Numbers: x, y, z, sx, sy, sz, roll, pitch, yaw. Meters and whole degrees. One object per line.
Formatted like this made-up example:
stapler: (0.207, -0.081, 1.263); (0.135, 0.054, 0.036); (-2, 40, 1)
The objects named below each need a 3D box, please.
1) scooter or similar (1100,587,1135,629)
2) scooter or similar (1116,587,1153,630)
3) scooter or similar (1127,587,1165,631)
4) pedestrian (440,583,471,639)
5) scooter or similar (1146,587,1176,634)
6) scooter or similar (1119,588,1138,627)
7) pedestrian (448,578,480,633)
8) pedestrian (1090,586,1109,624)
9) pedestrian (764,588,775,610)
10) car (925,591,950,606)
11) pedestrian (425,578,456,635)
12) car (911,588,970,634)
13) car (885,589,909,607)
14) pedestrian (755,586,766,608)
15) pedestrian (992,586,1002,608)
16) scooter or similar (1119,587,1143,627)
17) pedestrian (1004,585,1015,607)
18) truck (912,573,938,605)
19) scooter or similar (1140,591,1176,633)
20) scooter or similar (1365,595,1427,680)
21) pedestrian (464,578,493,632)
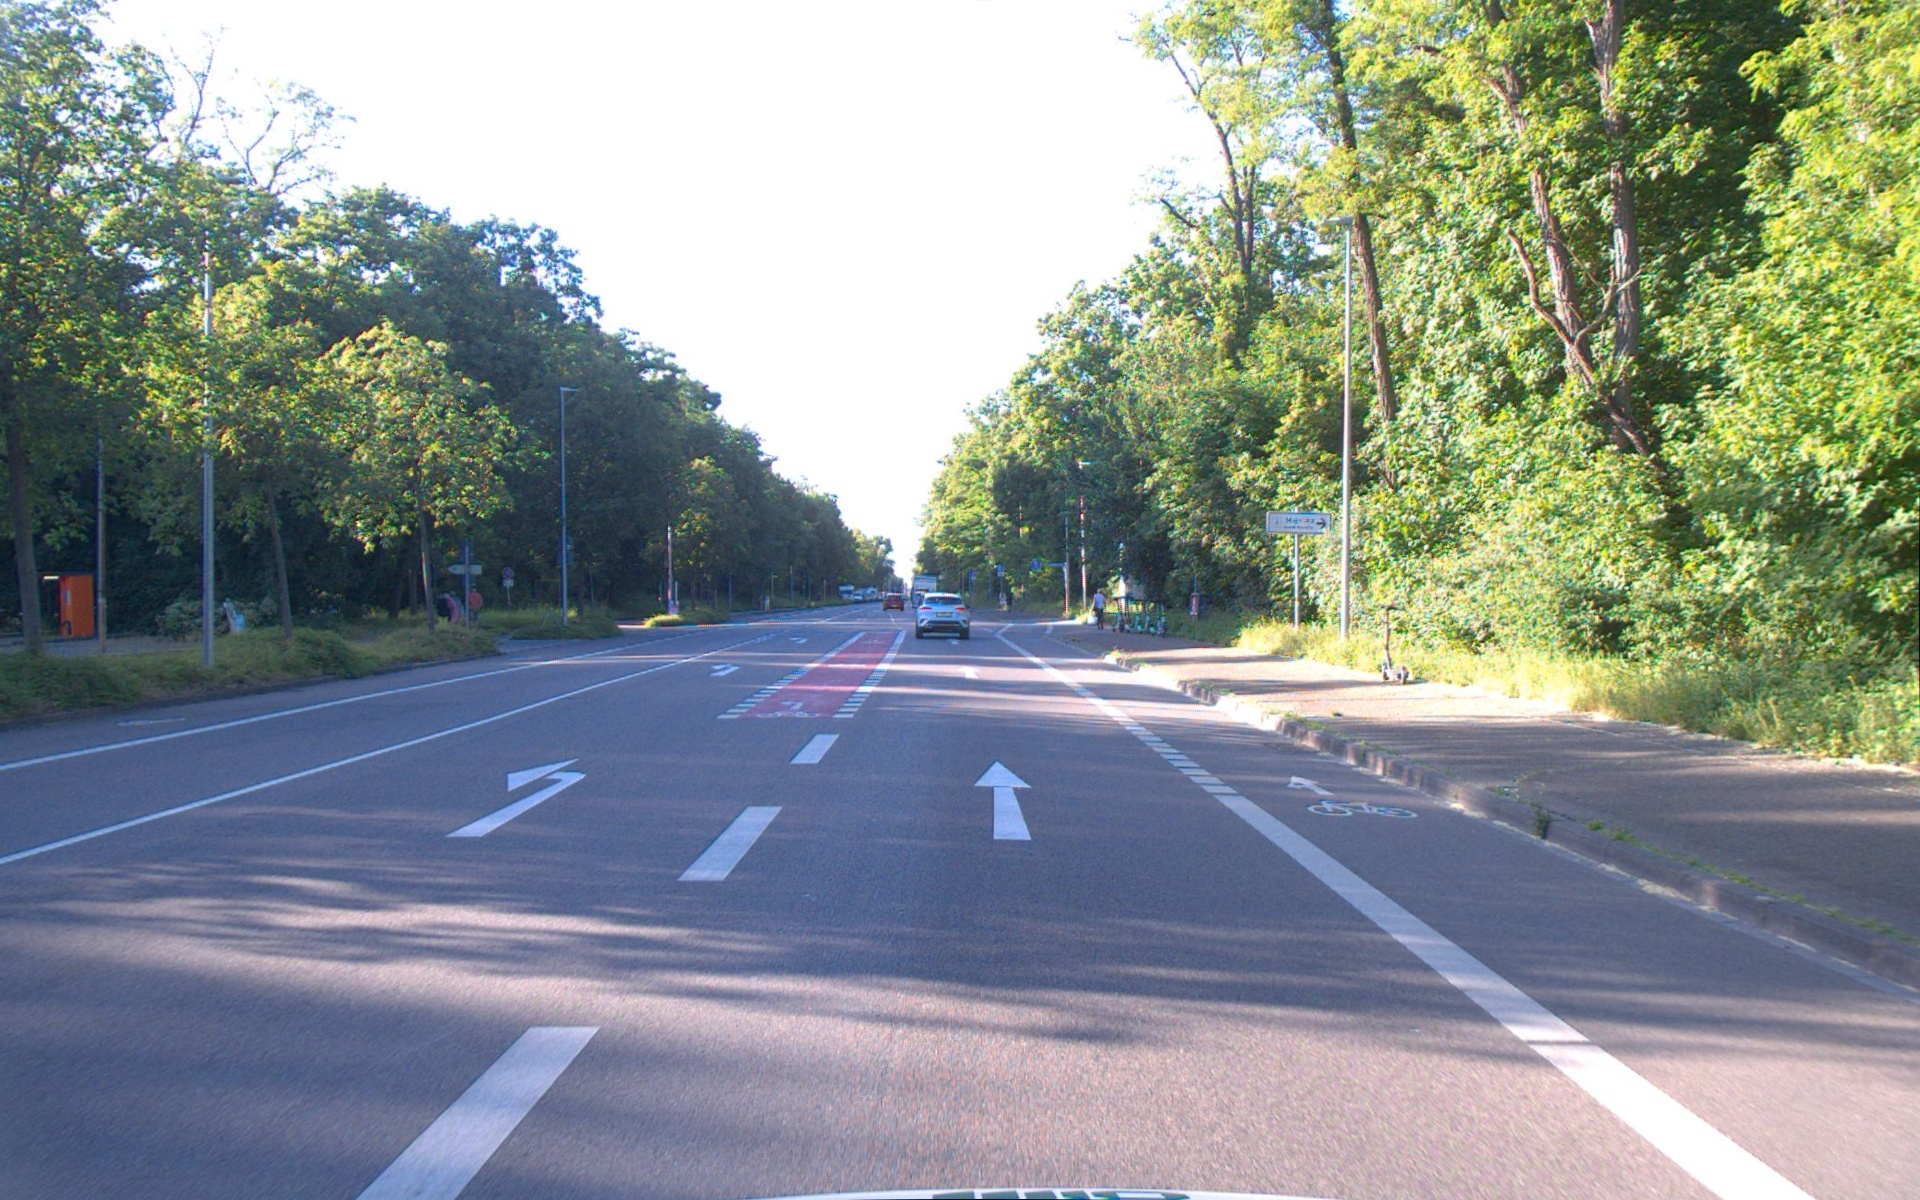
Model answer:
scooter or similar: (5.644, 0.276, 59.224); (0.671, 1.448, 1.674); (-1, 0, -16)
scooter or similar: (6.075, 0.280, 57.553); (0.671, 1.448, 1.674); (-1, 0, -16)
scooter or similar: (6.232, 0.290, 55.485); (0.670, 1.448, 1.675); (-1, 0, -15)
pedestrian: (-18.376, 0.401, 60.290); (0.702, 2.049, 0.797); (-1, 0, 24)
scooter or similar: (6.244, 0.321, 51.533); (0.668, 1.448, 1.681); (-1, 0, -2)
scooter or similar: (6.323, 0.279, 62.063); (0.667, 1.448, 1.246); (-1, 0, 7)
pedestrian: (-18.705, 0.189, 62.397); (0.703, 2.049, 0.873); (-1, 0, 30)
pedestrian: (5.817, 0.198, 69.149); (0.739, 1.591, 0.803); (-1, 0, 3)
pedestrian: (-18.119, -0.074, 157.523); (0.814, 2.049, 1.269); (-1, 0, 0)
car: (-2.030, -0.161, 149.478); (1.954, 1.350, 3.996); (-1, 0, -5)
pedestrian: (-18.693, 0.235, 59.551); (0.702, 2.049, 0.797); (-1, 0, 23)
car: (-0.704, 0.359, 56.124); (1.727, 1.485, 3.814); (1, 0, -5)
car: (-5.312, -0.177, 140.247); (1.953, 1.545, 3.999); (-1, 0, -1)
pedestrian: (-18.965, -0.288, 157.497); (0.846, 2.049, 1.269); (-1, 0, 0)
pedestrian: (2.741, -0.224, 123.283); (0.684, 1.682, 0.876); (-1, 0, -2)
scooter or similar: (6.251, 0.252, 60.548); (0.668, 1.448, 1.681); (-1, 0, -1)
pedestrian: (3.716, -0.283, 123.325); (0.728, 1.627, 0.797); (-1, 0, -2)
truck: (-4.133, -1.288, 193.190); (2.743, 3.632, 8.031); (1, 0, -3)
scooter or similar: (6.382, 0.368, 53.390); (0.459, 1.329, 1.470); (-1, 0, -23)
scooter or similar: (6.781, 0.572, 25.776); (0.522, 1.272, 1.541); (-1, 0, -1)
pedestrian: (-18.362, 0.181, 63.048); (0.703, 2.049, 0.746); (-1, 0, 30)
